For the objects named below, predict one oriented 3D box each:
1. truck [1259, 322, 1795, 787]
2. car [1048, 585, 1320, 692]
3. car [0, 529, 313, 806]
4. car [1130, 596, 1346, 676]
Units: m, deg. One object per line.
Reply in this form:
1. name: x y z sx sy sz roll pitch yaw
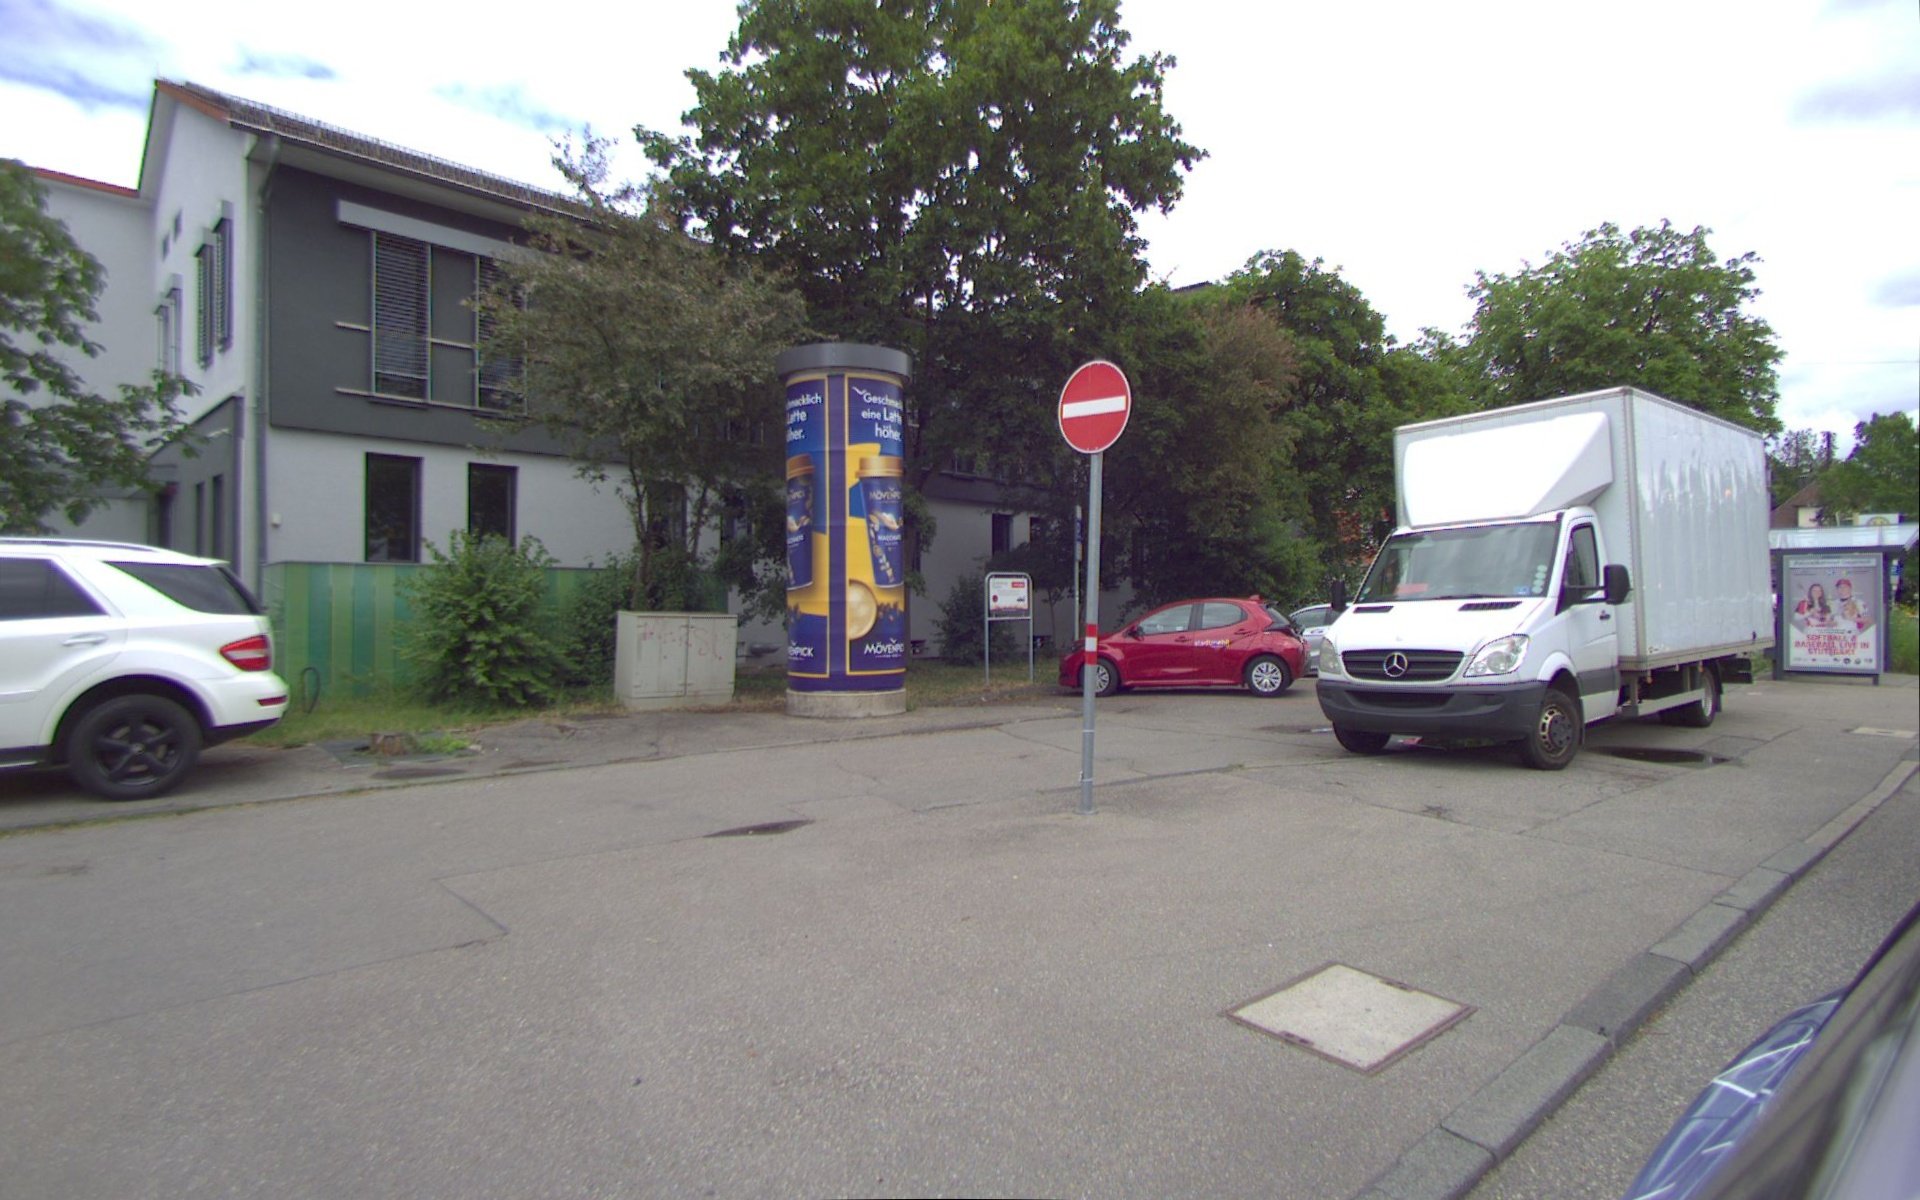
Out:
1. truck: 6.557 -0.397 11.001 7.638 3.469 2.540 -1 0 -40
2. car: 3.495 0.612 15.809 3.856 1.502 1.669 -2 -1 25
3. car: -7.228 0.436 6.811 4.640 1.780 1.855 0 0 -41
4. car: 5.465 0.711 20.062 3.946 1.428 1.516 -2 -1 18
